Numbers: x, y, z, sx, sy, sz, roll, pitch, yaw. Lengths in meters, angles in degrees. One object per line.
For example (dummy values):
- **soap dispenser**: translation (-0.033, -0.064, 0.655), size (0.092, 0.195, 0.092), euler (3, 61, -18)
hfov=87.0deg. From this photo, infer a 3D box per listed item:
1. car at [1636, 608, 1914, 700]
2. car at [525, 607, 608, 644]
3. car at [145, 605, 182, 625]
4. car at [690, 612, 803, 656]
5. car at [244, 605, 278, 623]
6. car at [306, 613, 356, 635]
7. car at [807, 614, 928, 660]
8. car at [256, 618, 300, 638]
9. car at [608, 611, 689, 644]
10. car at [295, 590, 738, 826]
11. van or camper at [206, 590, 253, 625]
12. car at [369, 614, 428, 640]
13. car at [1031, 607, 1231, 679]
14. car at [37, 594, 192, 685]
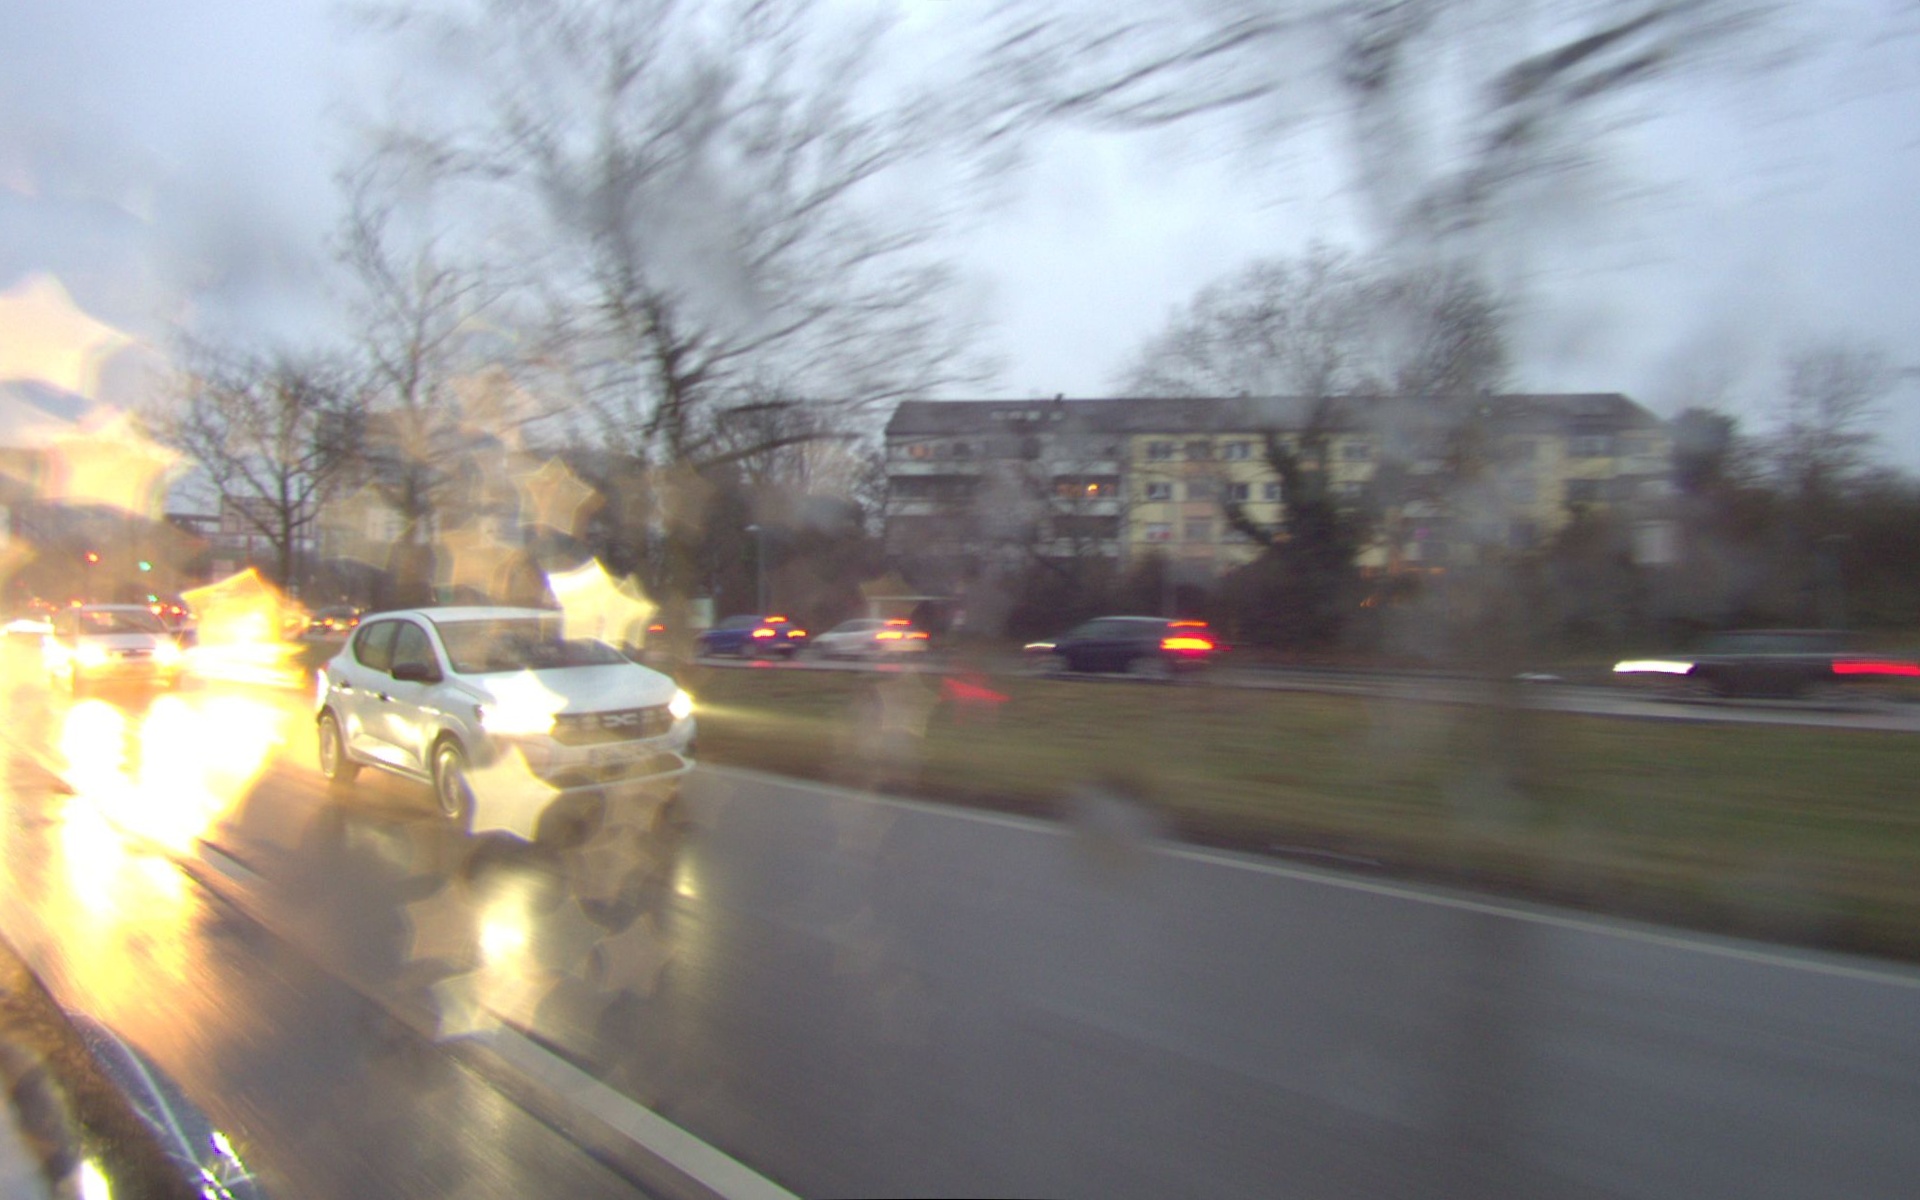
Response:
- **car**: translation (14.627, 0.896, 18.335), size (3.790, 1.479, 1.615), euler (0, -1, 42)
- **car**: translation (-16.496, 1.035, 42.318), size (3.955, 1.511, 1.631), euler (0, -1, 42)
- **car**: translation (-61.614, 1.163, 78.281), size (3.998, 1.514, 1.553), euler (0, 0, 42)
- **car**: translation (-7.090, 1.089, 33.444), size (3.955, 1.364, 1.631), euler (0, -1, 42)
- **car**: translation (-58.363, 1.151, 84.456), size (4.000, 1.415, 1.553), euler (0, 0, 43)
- **car**: translation (-38.228, 1.443, 61.438), size (3.999, 1.321, 1.521), euler (0, -1, 42)
- **car**: translation (-3.250, 1.234, 35.059), size (4.270, 1.500, 1.700), euler (0, -1, 42)
- **car**: translation (-46.209, 1.874, 68.537), size (3.999, 1.302, 1.521), euler (0, -1, 42)
- **car**: translation (-13.656, 1.167, 44.318), size (3.701, 1.364, 1.633), euler (0, -1, 39)
- **car**: translation (-3.786, 0.683, 8.271), size (4.224, 1.451, 1.706), euler (0, -1, 42)
- **van or camper**: translation (-56.003, 0.596, 77.543), size (4.737, 2.629, 1.942), euler (0, -1, 42)
- **car**: translation (-29.883, 1.398, 53.844), size (3.955, 1.338, 1.521), euler (0, -1, 42)
- **car**: translation (3.945, 0.943, 23.788), size (4.376, 1.545, 1.765), euler (0, -1, 42)
- **car**: translation (-16.740, 0.719, 19.979), size (4.163, 1.611, 1.743), euler (0, -1, 42)
